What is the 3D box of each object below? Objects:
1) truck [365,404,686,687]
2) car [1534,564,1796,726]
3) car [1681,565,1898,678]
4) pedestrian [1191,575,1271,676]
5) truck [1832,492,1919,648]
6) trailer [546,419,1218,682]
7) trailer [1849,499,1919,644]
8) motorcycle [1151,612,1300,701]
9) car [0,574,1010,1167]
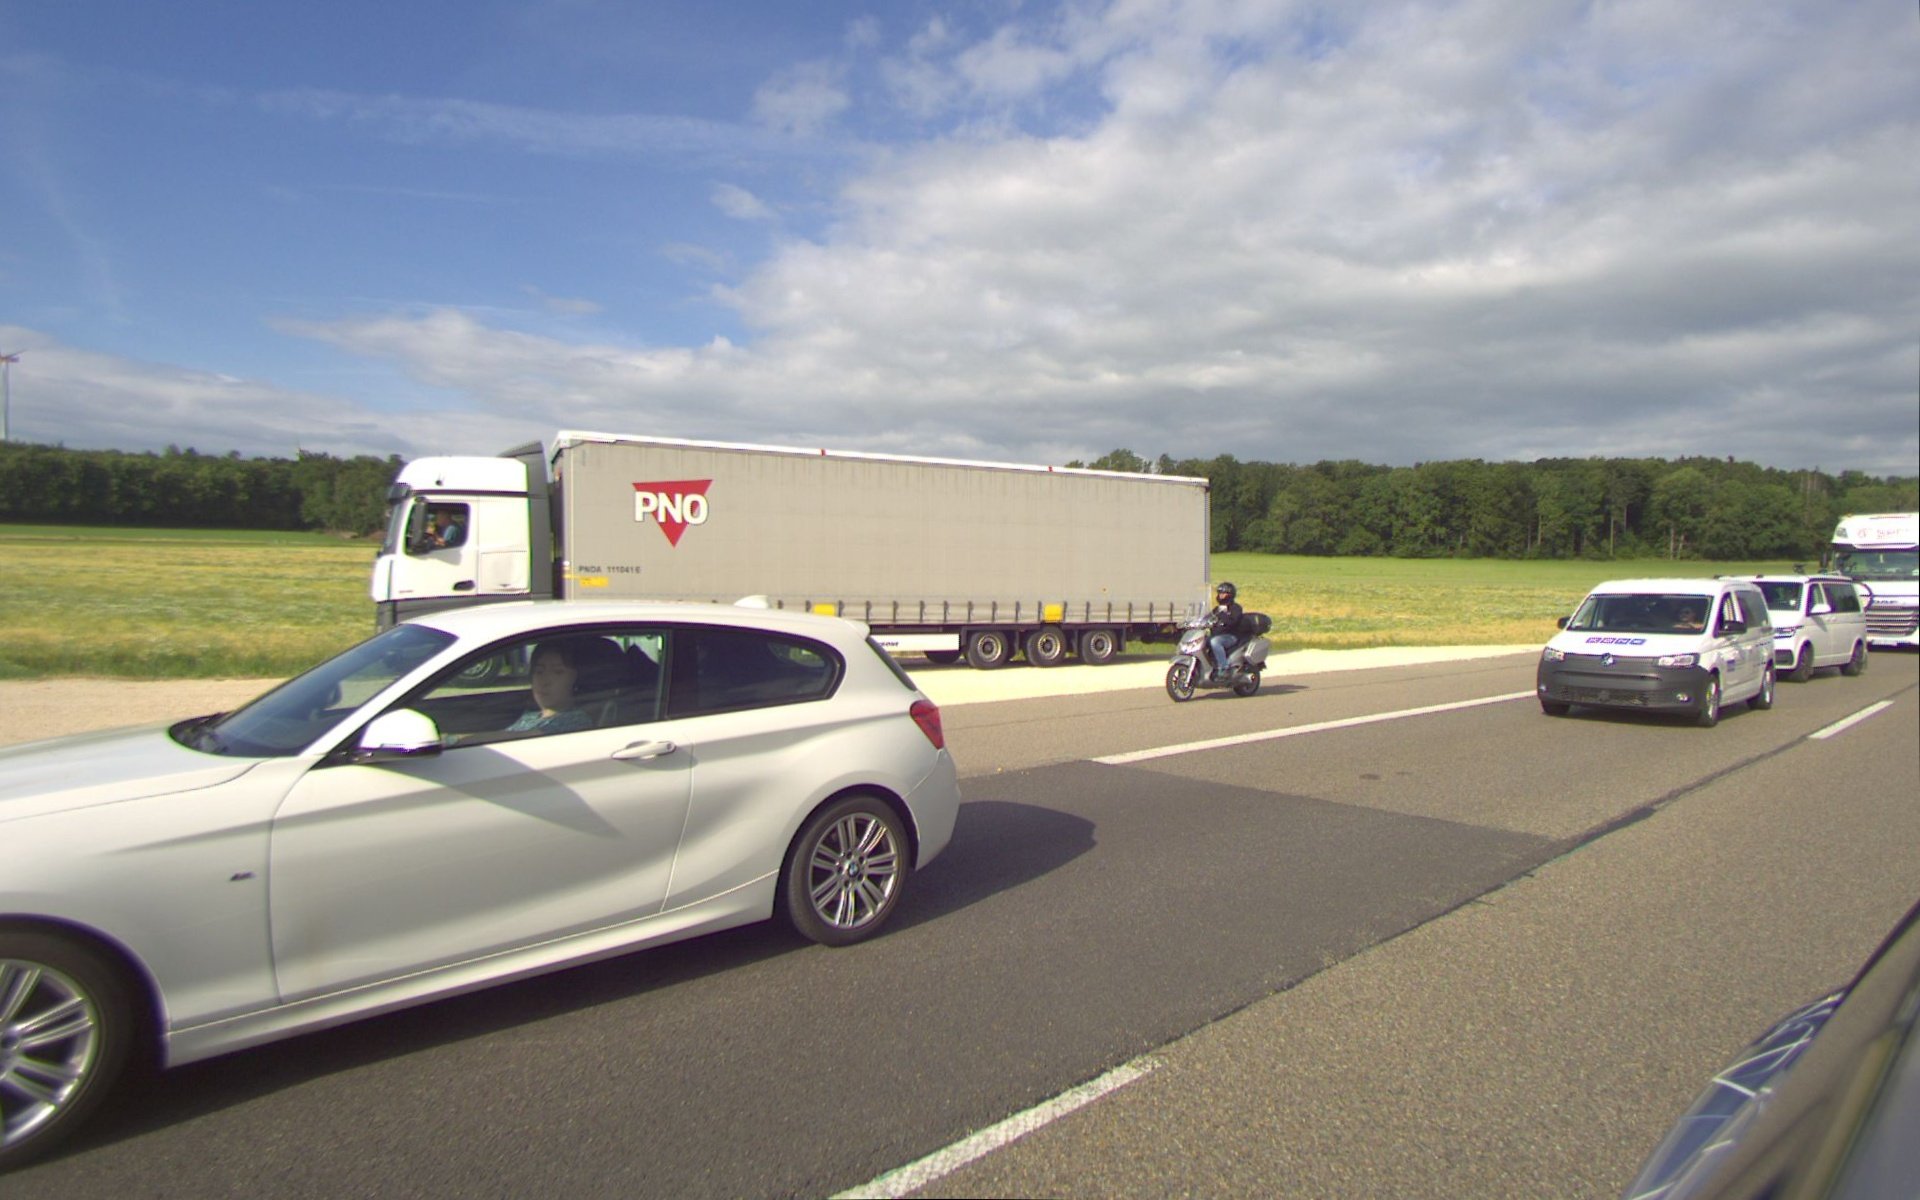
[{"bbox_3d":[-7.348,-0.808,17.334,4.662,4.227,2.726,0,0,-26],"label":"truck"},{"bbox_3d":[9.348,0.492,13.256,4.620,1.779,1.727,0,0,-41],"label":"car"},{"bbox_3d":[16.223,0.371,19.706,5.165,1.949,1.801,0,0,-33],"label":"car"},{"bbox_3d":[3.891,0.346,14.541,0.803,1.391,0.758,1,0,-32],"label":"pedestrian"},{"bbox_3d":[27.799,-0.841,29.586,5.667,4.226,2.733,-1,0,-41],"label":"truck"},{"bbox_3d":[-0.974,-0.770,20.514,13.544,4.213,2.748,0,0,-27],"label":"trailer"},{"bbox_3d":[32.941,-0.923,34.145,13.777,4.212,2.739,-1,1,-42],"label":"trailer"},{"bbox_3d":[3.830,0.772,14.513,2.200,1.164,0.759,0,0,-32],"label":"motorcycle"},{"bbox_3d":[-1.887,0.663,4.015,4.158,1.450,1.706,0,0,-41],"label":"car"}]
